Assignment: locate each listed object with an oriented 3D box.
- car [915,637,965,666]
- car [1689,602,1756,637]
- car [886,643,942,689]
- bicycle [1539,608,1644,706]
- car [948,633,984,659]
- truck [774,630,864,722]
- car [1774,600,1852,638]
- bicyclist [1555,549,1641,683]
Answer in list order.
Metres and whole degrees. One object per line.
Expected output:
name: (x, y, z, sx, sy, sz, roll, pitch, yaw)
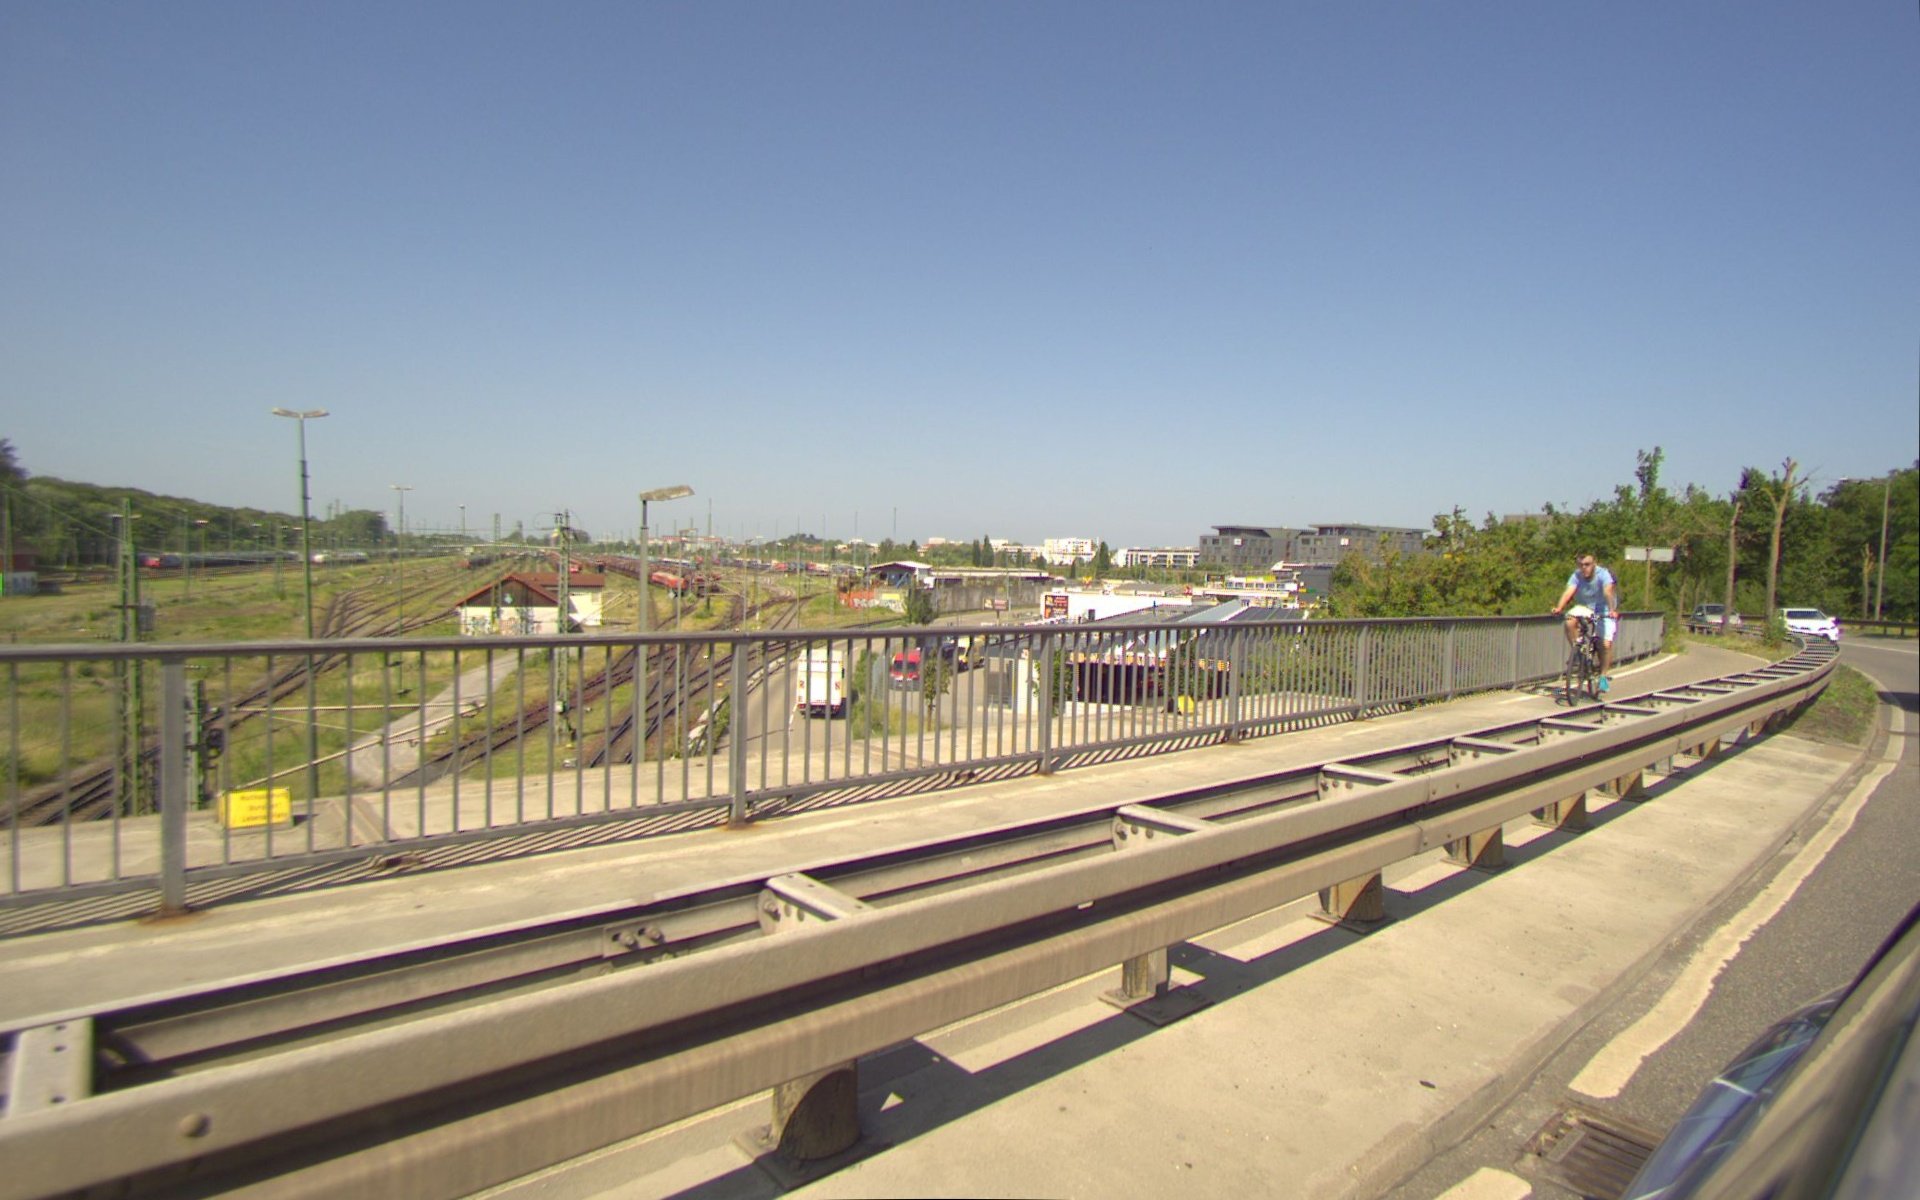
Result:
car: (-1.550, 4.076, 80.646, 2.277, 1.695, 5.351, -4, 1, 17)
car: (41.000, 1.022, 54.541, 1.979, 1.605, 3.965, -5, -2, 25)
car: (-3.334, 4.837, 74.593, 2.277, 2.696, 5.350, -4, 1, 18)
bicycle: (7.704, 0.652, 12.305, 0.702, 1.032, 1.817, 6, 4, 42)
car: (0.535, 3.924, 86.329, 1.973, 1.895, 3.977, -4, -1, 17)
truck: (-8.544, 4.470, 63.368, 3.750, 4.078, 13.277, 3, 2, -1)
car: (35.799, 0.745, 42.584, 1.832, 1.507, 4.107, 0, 0, 30)
bicyclist: (7.780, 0.171, 12.341, 0.658, 1.538, 0.790, 5, 4, 43)
